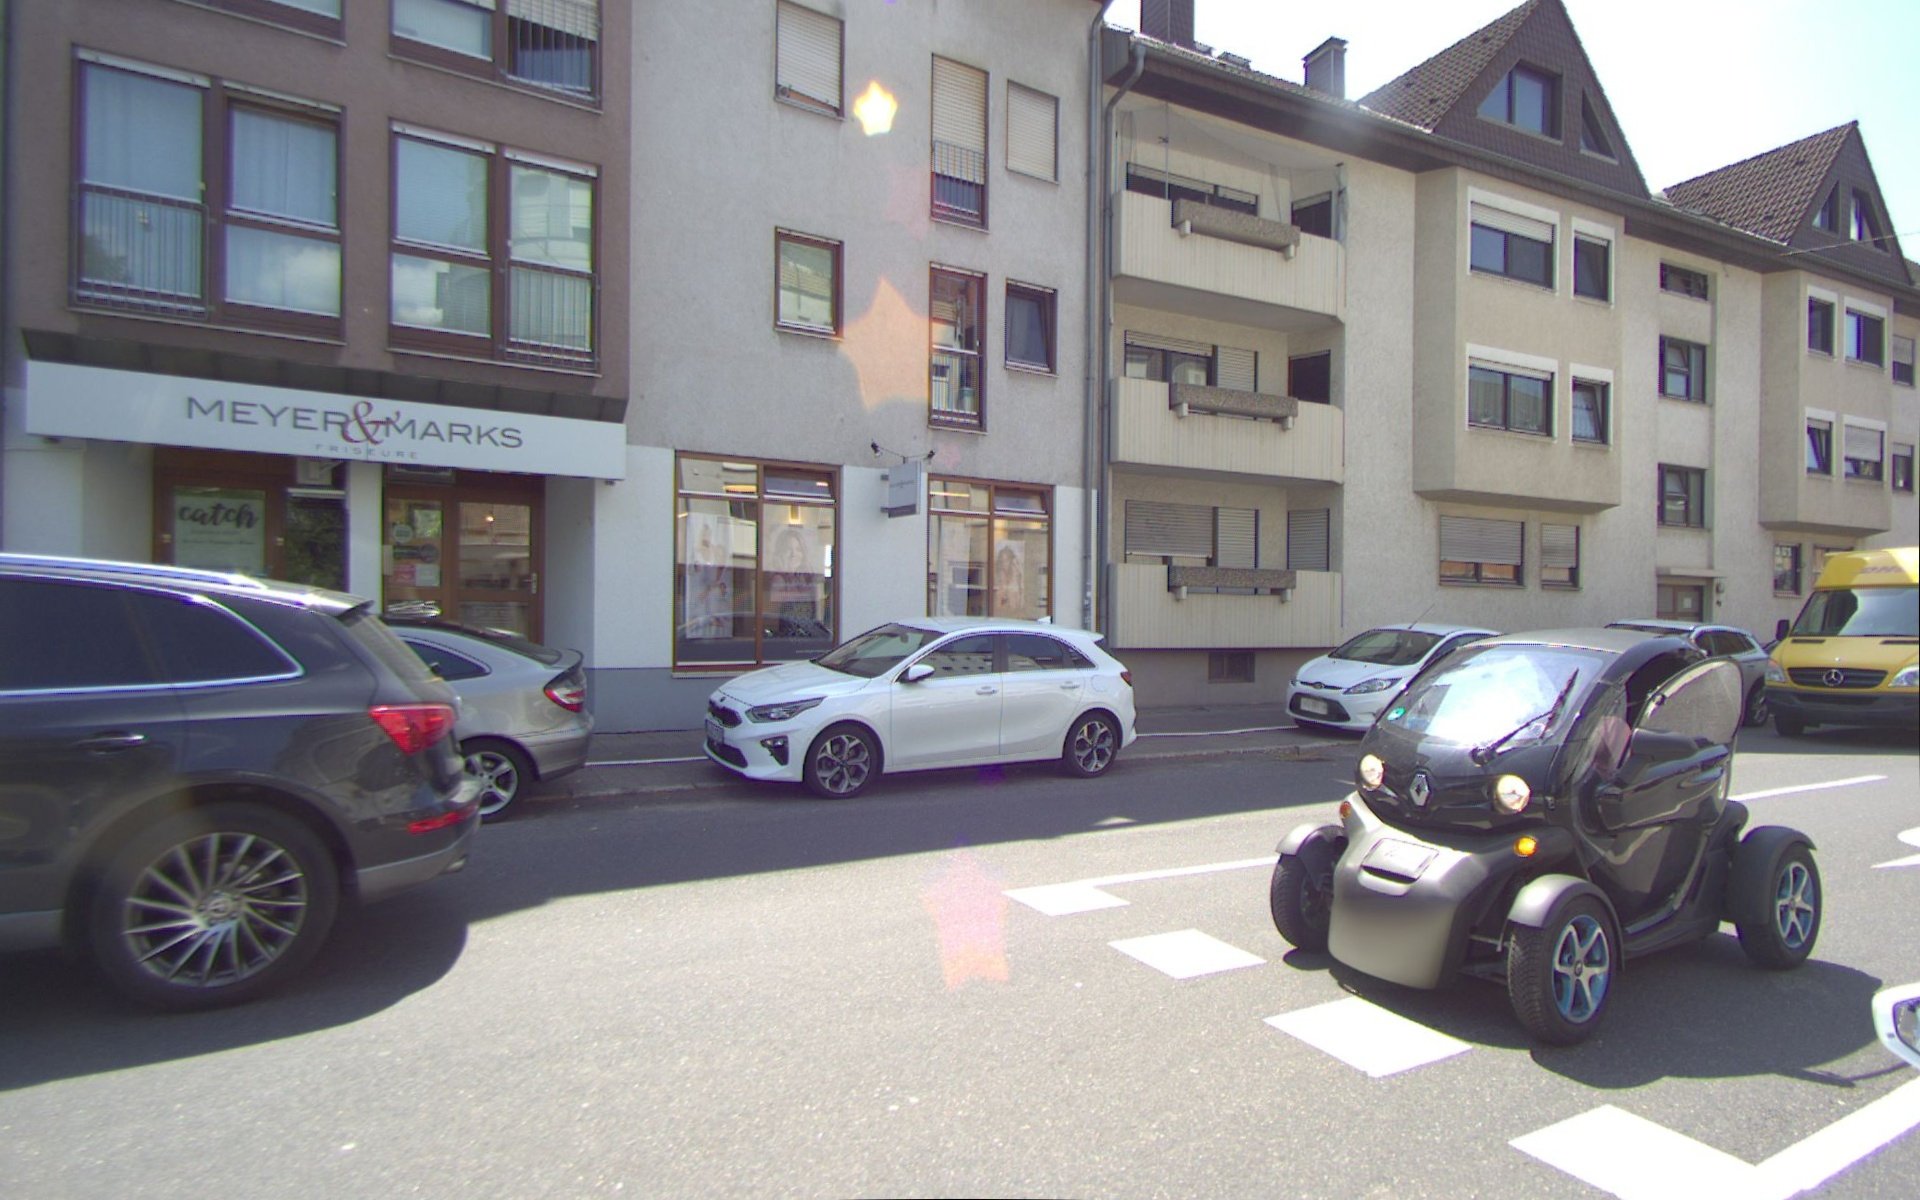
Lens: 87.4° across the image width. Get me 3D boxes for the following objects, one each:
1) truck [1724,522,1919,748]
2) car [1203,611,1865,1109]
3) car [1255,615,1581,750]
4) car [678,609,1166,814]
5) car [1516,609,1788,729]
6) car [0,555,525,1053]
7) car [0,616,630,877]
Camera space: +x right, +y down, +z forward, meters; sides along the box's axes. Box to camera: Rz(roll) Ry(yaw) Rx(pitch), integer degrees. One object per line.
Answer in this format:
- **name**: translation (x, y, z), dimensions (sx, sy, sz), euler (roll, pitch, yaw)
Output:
- **truck**: translation (14.750, 0.538, 15.145), dimensions (7.469, 2.807, 2.217), euler (1, -2, -28)
- **car**: translation (2.550, 0.805, 4.380), dimensions (2.694, 1.478, 1.488), euler (1, -1, -34)
- **car**: translation (6.287, 1.034, 13.703), dimensions (4.334, 1.509, 1.831), euler (1, 1, -30)
- **car**: translation (-0.293, 0.922, 9.682), dimensions (4.335, 1.509, 1.830), euler (1, 1, -31)
- **car**: translation (11.085, 1.033, 16.037), dimensions (4.334, 1.617, 1.831), euler (1, 1, -30)
- **car**: translation (-4.138, 0.682, 3.814), dimensions (4.389, 1.642, 1.804), euler (2, -2, -30)
- **car**: translation (-4.766, 0.890, 7.226), dimensions (4.275, 1.402, 1.831), euler (1, 1, -29)
